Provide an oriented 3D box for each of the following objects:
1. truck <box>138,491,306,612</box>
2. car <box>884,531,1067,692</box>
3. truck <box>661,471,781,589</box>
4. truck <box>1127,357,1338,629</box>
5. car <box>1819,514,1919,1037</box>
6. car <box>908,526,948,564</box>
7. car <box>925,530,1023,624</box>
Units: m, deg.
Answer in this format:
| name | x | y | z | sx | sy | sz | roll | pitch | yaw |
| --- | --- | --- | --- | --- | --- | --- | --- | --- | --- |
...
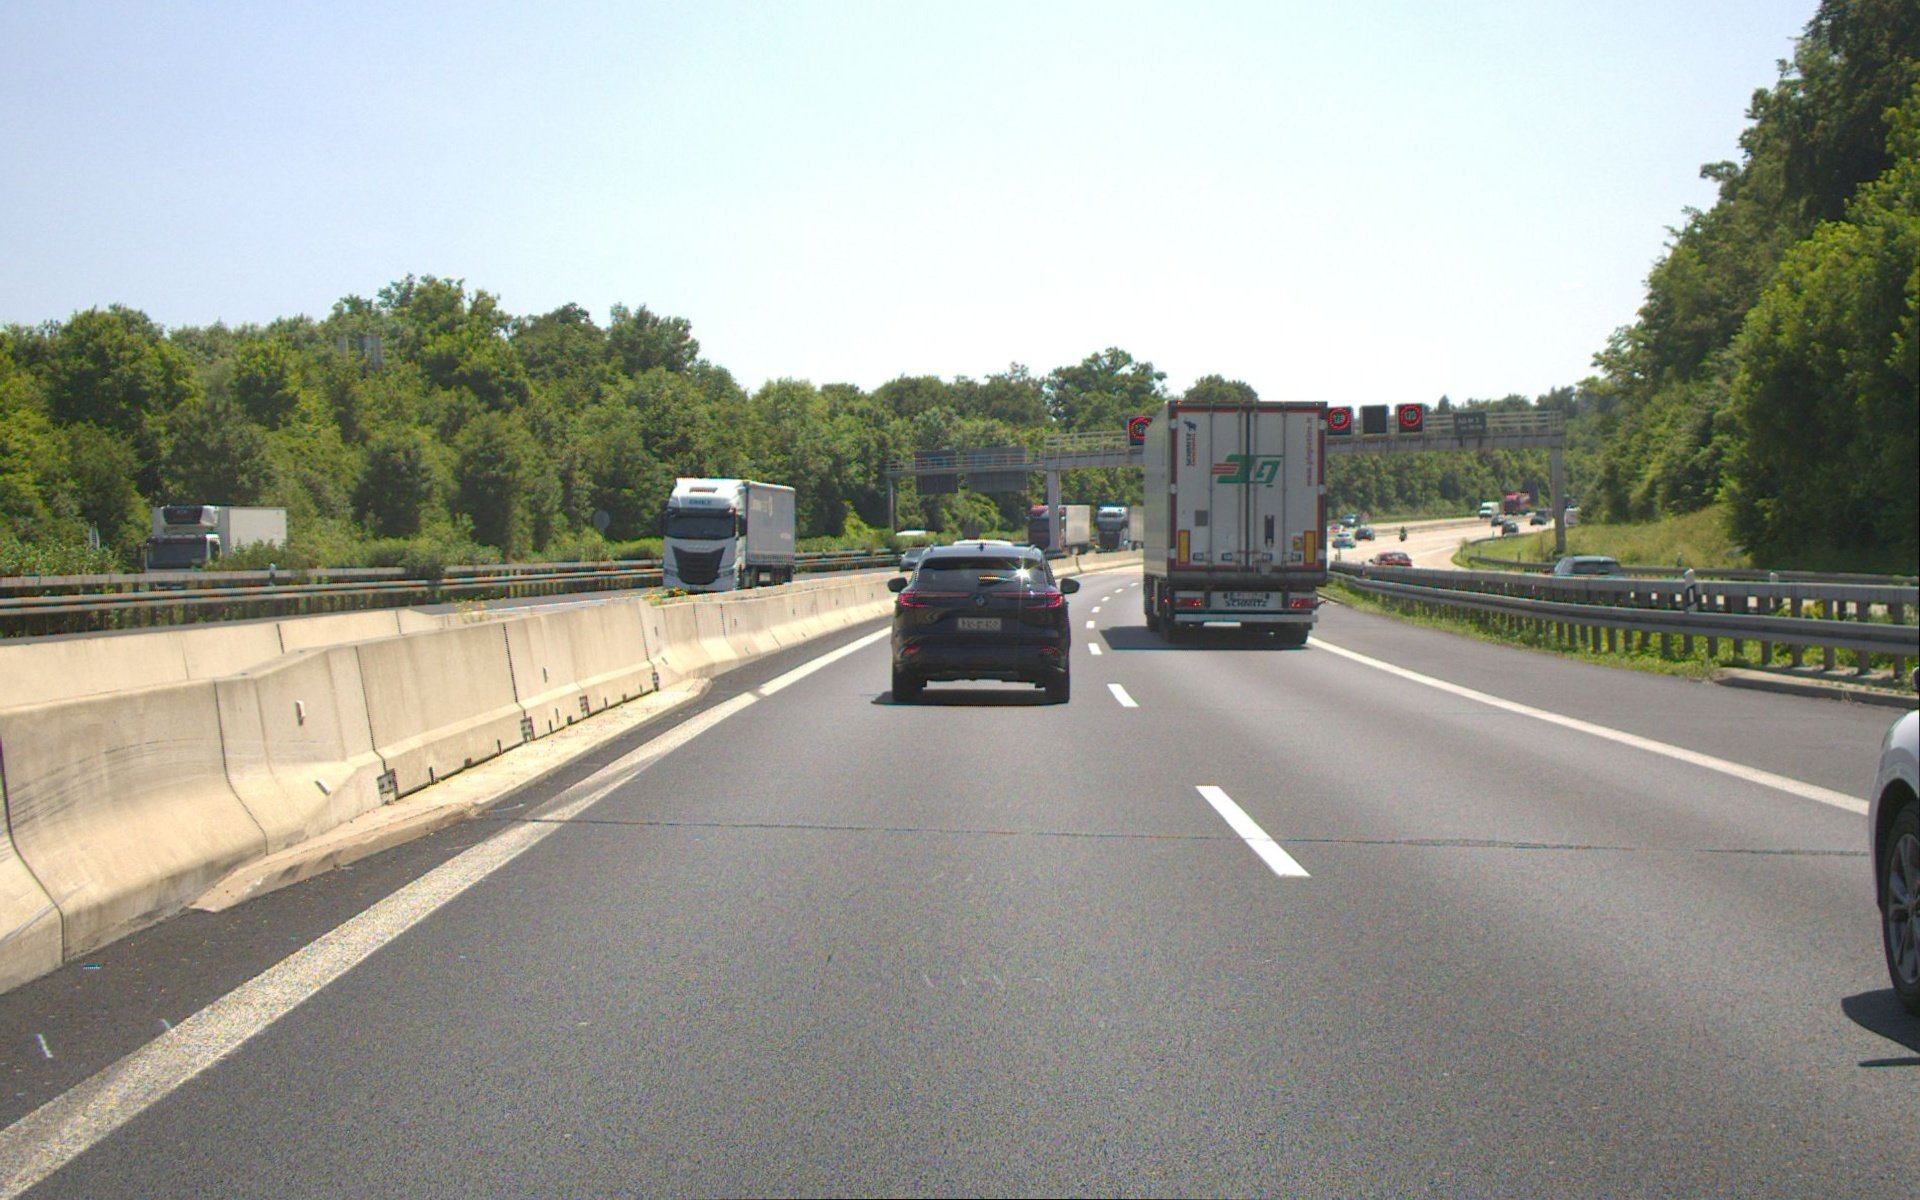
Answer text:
| name | x | y | z | sx | sy | sz | roll | pitch | yaw |
| --- | --- | --- | --- | --- | --- | --- | --- | --- | --- |
| truck | -25.141 | -1.593 | 117.662 | 2.698 | 3.946 | 10.775 | 0 | 0 | 4 |
| car | 0.214 | 0.109 | 35.804 | 1.779 | 1.572 | 4.000 | 0 | 0 | 2 |
| truck | -8.324 | -2.375 | 121.225 | 2.698 | 3.946 | 10.775 | 0 | 0 | 4 |
| truck | 4.706 | -1.745 | 61.631 | 3.032 | 4.403 | 12.018 | 0 | 0 | 1 |
| car | 4.049 | 0.556 | 9.890 | 1.993 | 1.656 | 4.468 | 0 | 0 | -1 |
| car | -1.698 | -2.918 | 182.335 | 1.993 | 2.007 | 4.001 | 0 | 1 | -2 |
| car | 0.297 | -0.553 | 80.066 | 1.993 | 2.007 | 4.000 | -3 | 1 | -2 |
